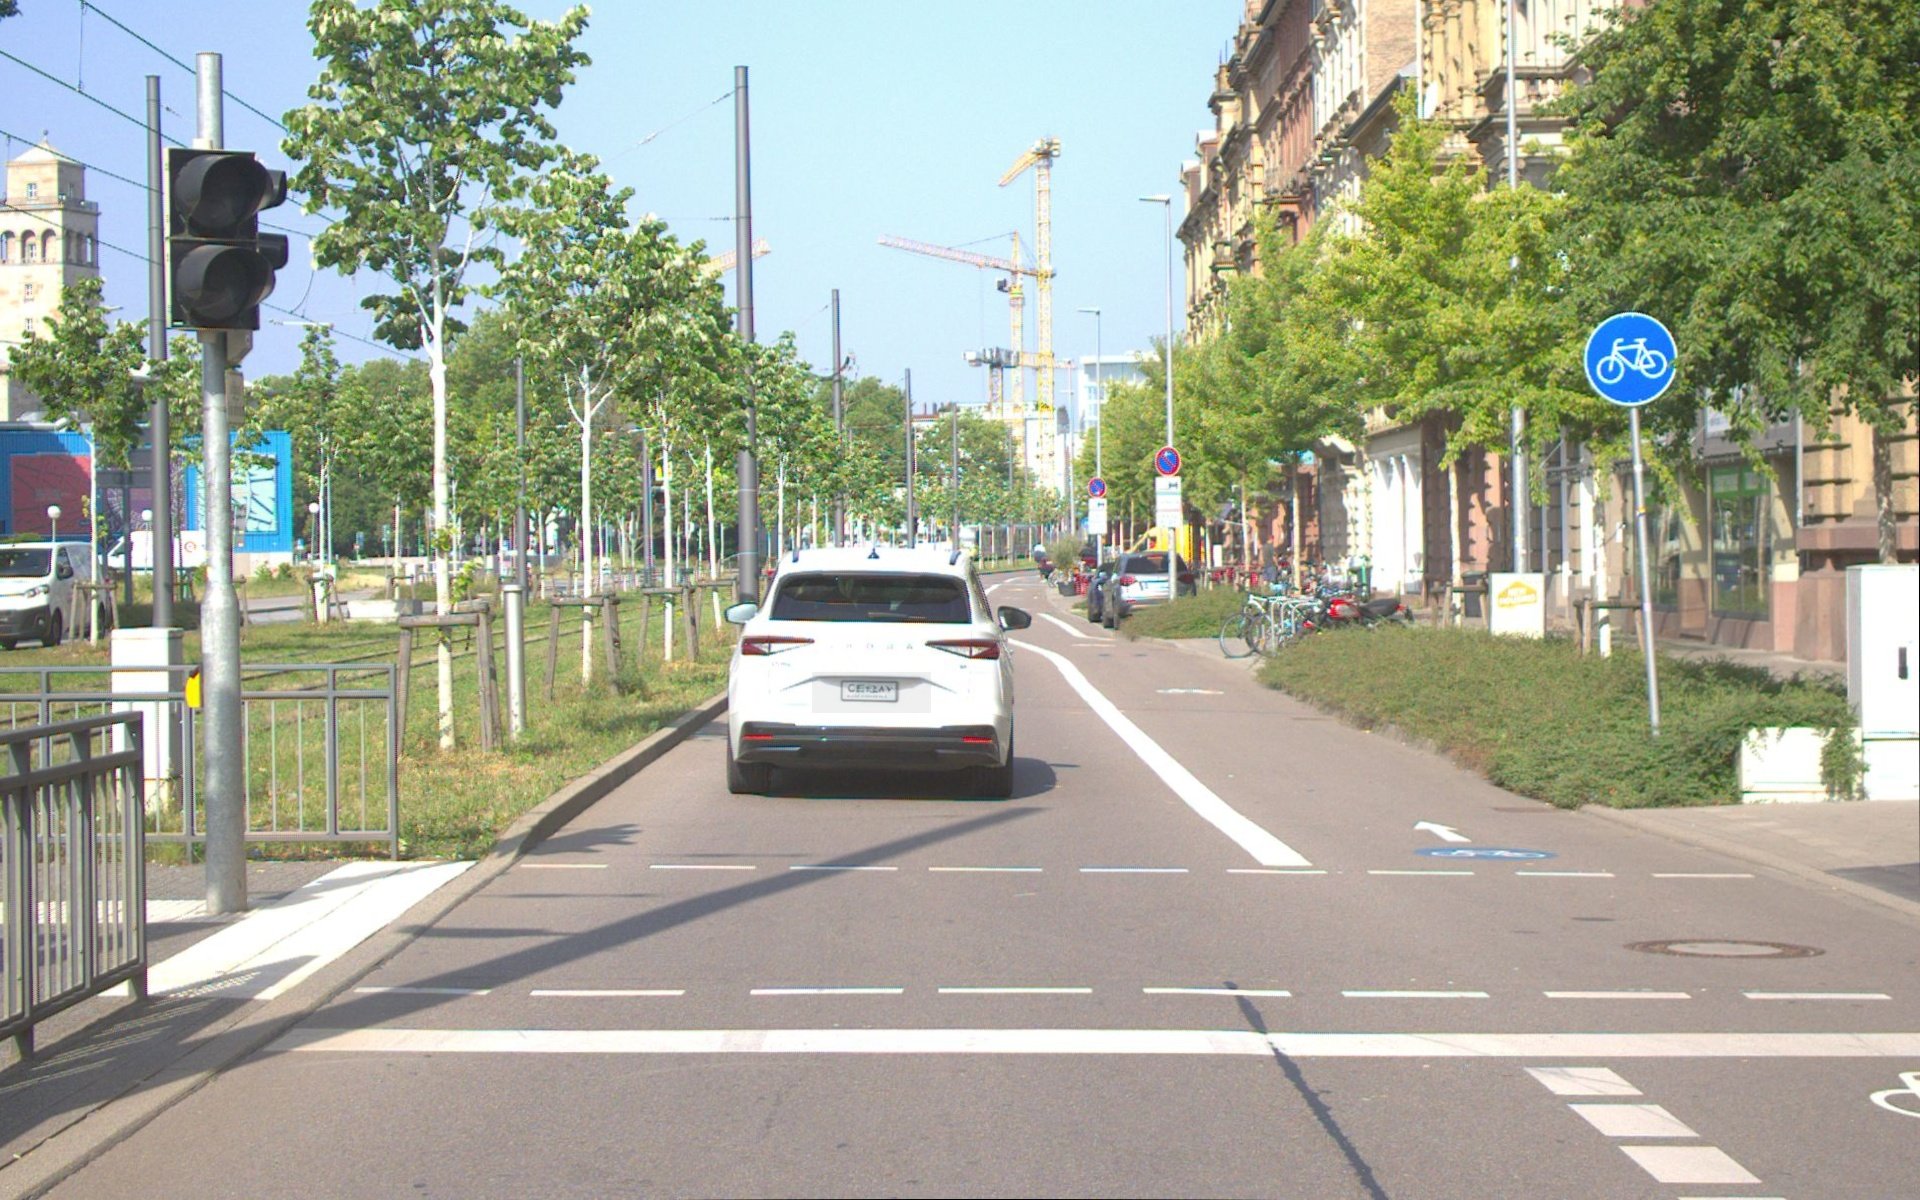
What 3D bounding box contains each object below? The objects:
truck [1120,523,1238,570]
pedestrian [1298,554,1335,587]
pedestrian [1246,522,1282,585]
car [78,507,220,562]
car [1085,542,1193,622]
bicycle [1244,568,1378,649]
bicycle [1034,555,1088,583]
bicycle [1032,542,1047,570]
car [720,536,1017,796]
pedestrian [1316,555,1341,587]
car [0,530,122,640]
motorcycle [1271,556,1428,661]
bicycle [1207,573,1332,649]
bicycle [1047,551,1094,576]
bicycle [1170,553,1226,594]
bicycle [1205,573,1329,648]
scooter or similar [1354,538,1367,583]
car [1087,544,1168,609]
[{"bbox_3d":[11.006,-2.684,172.688,5.871,2.310,2.220,0,1,4],"label":"truck"},{"bbox_3d":[9.909,-0.818,95.655,0.877,0.873,0.711,-3,1,-3],"label":"pedestrian"},{"bbox_3d":[8.352,-1.285,94.495,0.823,1.691,0.793,-3,1,-4],"label":"pedestrian"},{"bbox_3d":[-42.514,-3.445,180.217,6.872,2.629,2.515,2,0,-20],"label":"car"},{"bbox_3d":[3.747,-0.404,72.670,1.769,1.583,4.248,-2,1,-3],"label":"car"},{"bbox_3d":[5.097,0.120,49.921,1.806,1.092,0.672,-2,1,-5],"label":"bicycle"},{"bbox_3d":[4.268,-1.302,144.976,2.239,1.100,0.588,-3,1,2],"label":"bicycle"},{"bbox_3d":[4.251,-2.372,184.561,0.781,1.491,2.800,-1,1,2],"label":"bicycle"},{"bbox_3d":[-0.559,0.367,23.266,1.817,1.584,4.407,0,1,0],"label":"car"},{"bbox_3d":[10.063,-0.794,93.958,0.570,0.852,0.457,-3,1,-5],"label":"pedestrian"},{"bbox_3d":[-16.660,-0.298,61.584,1.993,1.888,5.047,-1,1,1],"label":"car"},{"bbox_3d":[5.190,0.100,45.765,2.035,1.282,0.705,-3,2,-32],"label":"motorcycle"},{"bbox_3d":[4.593,0.159,51.120,1.784,1.050,0.373,-2,1,-1],"label":"bicycle"},{"bbox_3d":[4.695,-1.538,146.188,1.934,0.983,0.470,-3,1,2],"label":"bicycle"},{"bbox_3d":[6.452,-0.704,93.095,0.454,1.078,1.873,-2,-1,42],"label":"bicycle"},{"bbox_3d":[4.595,0.155,51.538,1.784,1.050,0.373,-2,1,-1],"label":"bicycle"},{"bbox_3d":[10.034,-0.997,86.118,0.289,1.130,1.088,0,1,6],"label":"scooter or similar"},{"bbox_3d":[3.887,-0.562,80.408,1.736,1.391,4.714,-2,1,1],"label":"car"}]
